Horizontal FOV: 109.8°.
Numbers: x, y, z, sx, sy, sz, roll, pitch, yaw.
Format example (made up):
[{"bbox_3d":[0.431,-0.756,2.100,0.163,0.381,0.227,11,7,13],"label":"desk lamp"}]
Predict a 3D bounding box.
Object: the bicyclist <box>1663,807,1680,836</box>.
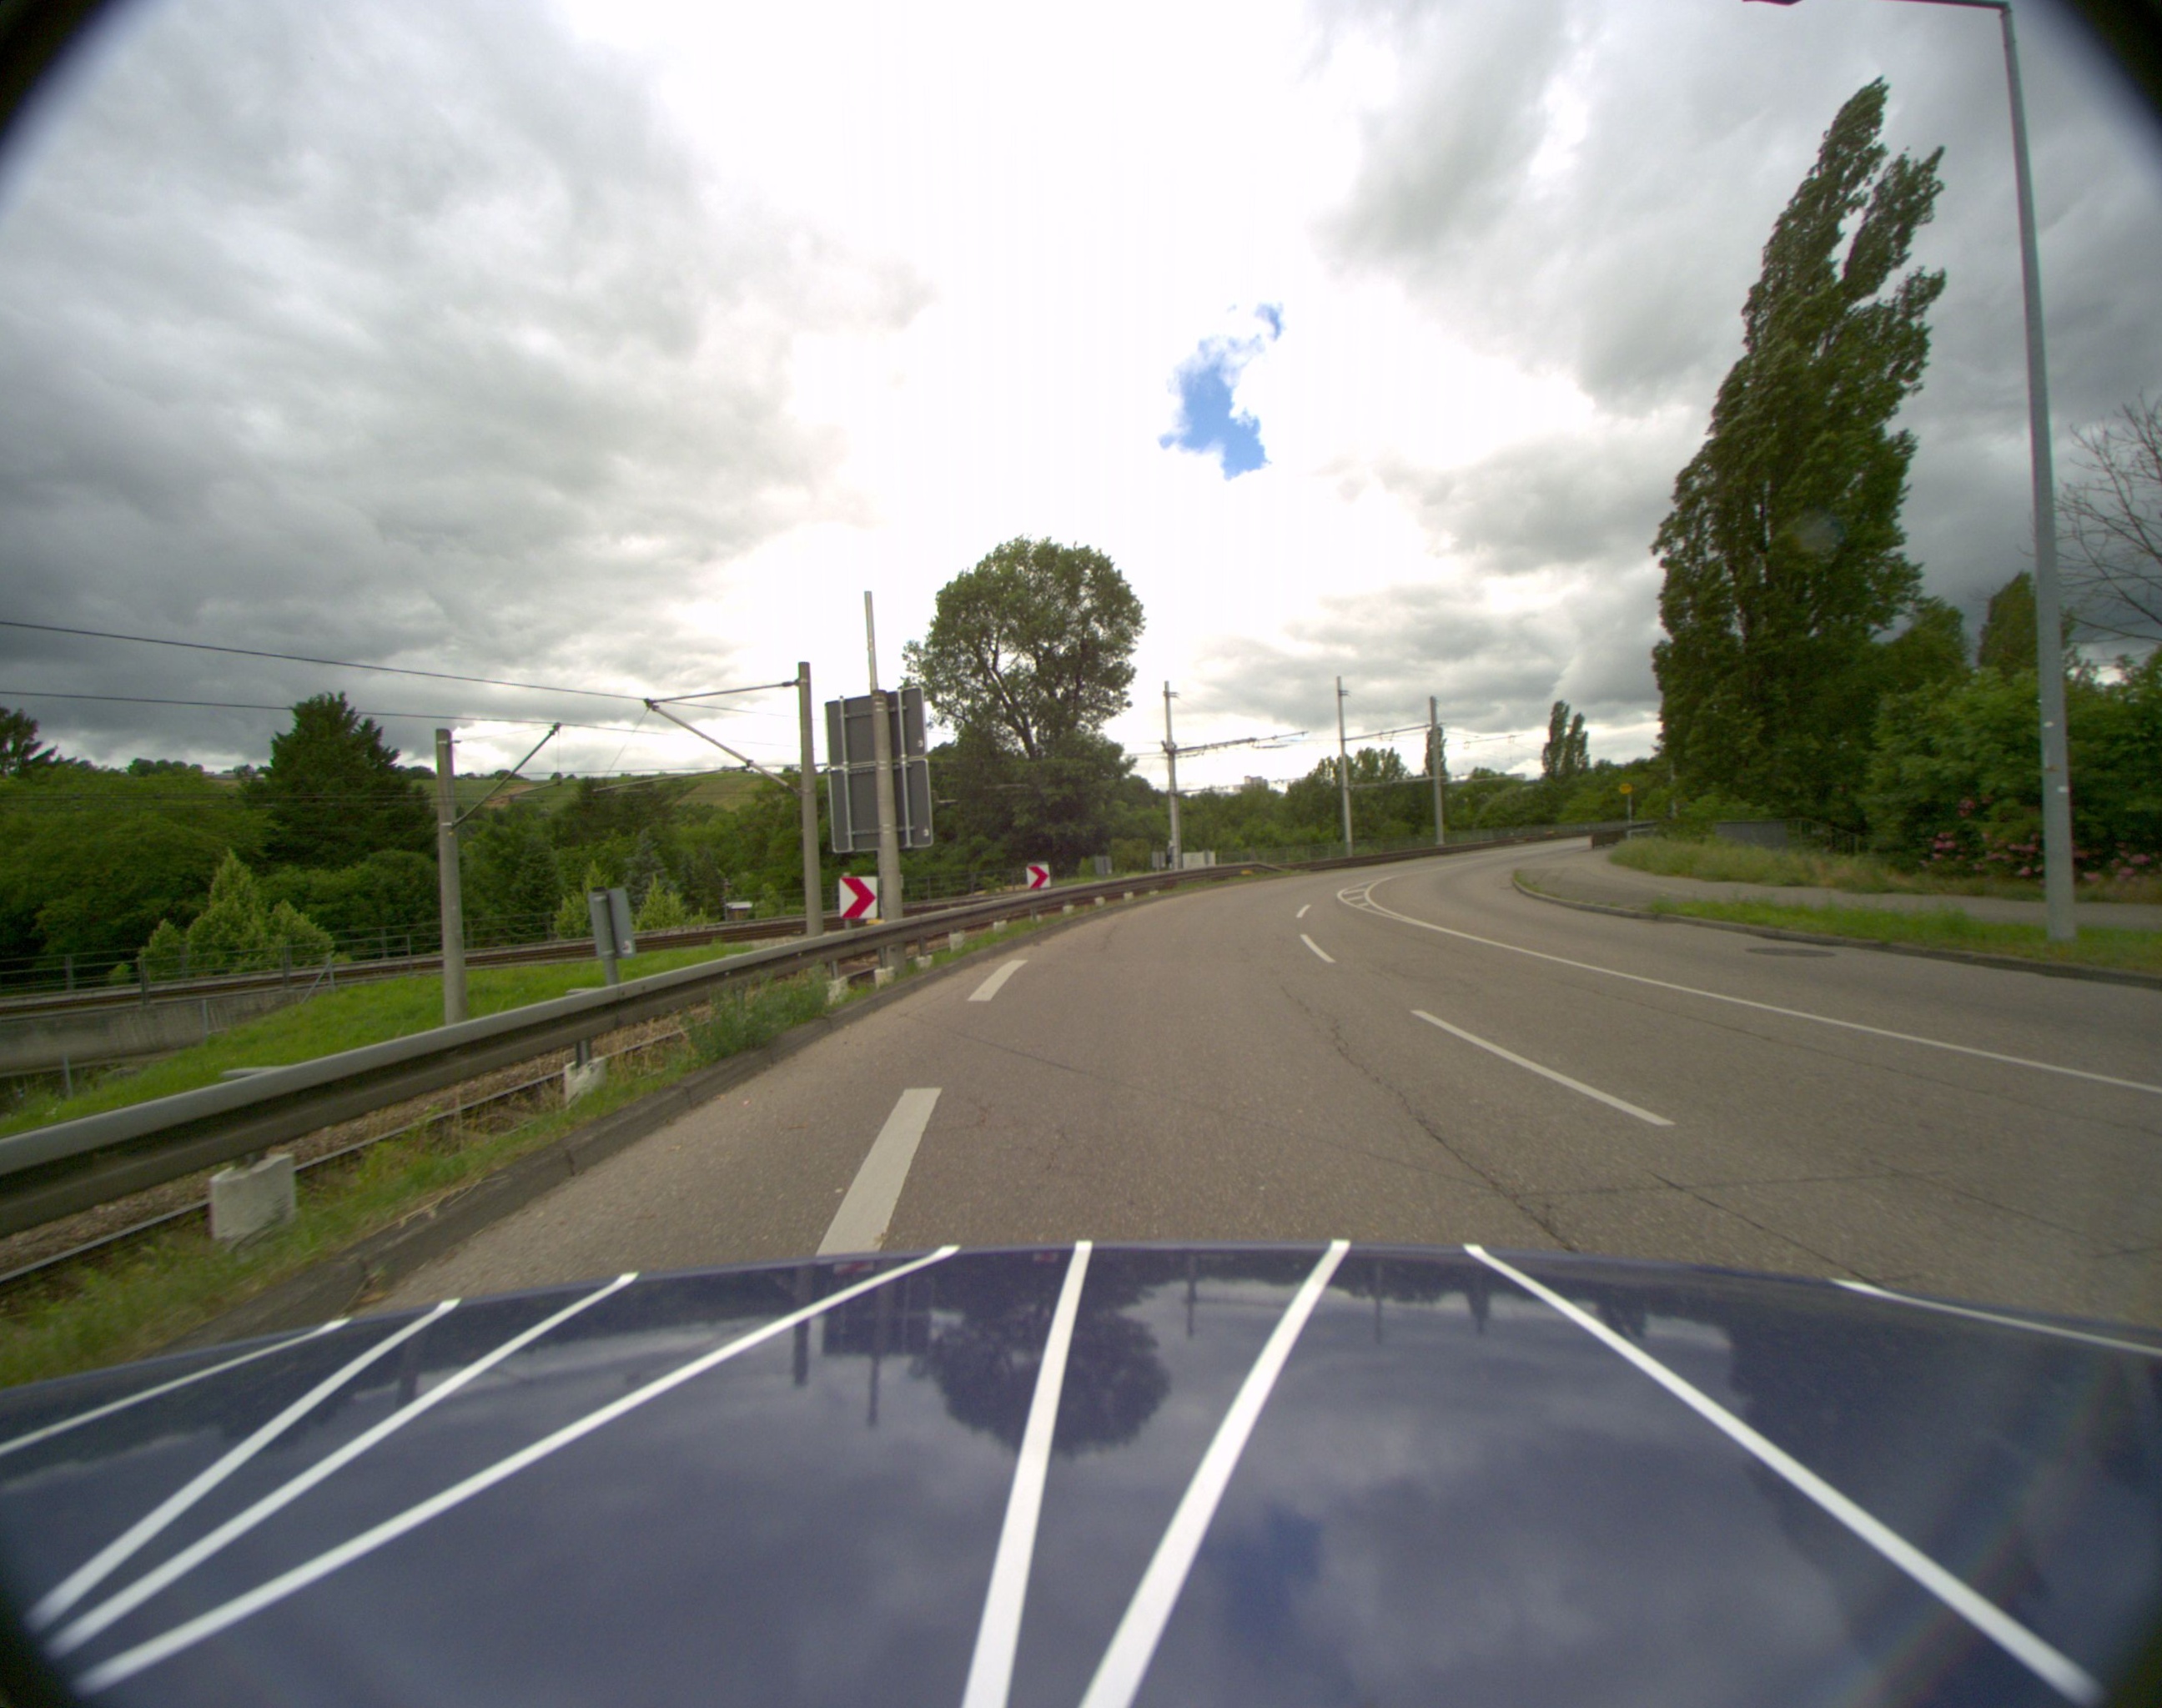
[{"bbox_3d":[37.744,-2.063,48.550,0.902,1.798,0.627,-6,1,-44],"label":"bicyclist"}]
